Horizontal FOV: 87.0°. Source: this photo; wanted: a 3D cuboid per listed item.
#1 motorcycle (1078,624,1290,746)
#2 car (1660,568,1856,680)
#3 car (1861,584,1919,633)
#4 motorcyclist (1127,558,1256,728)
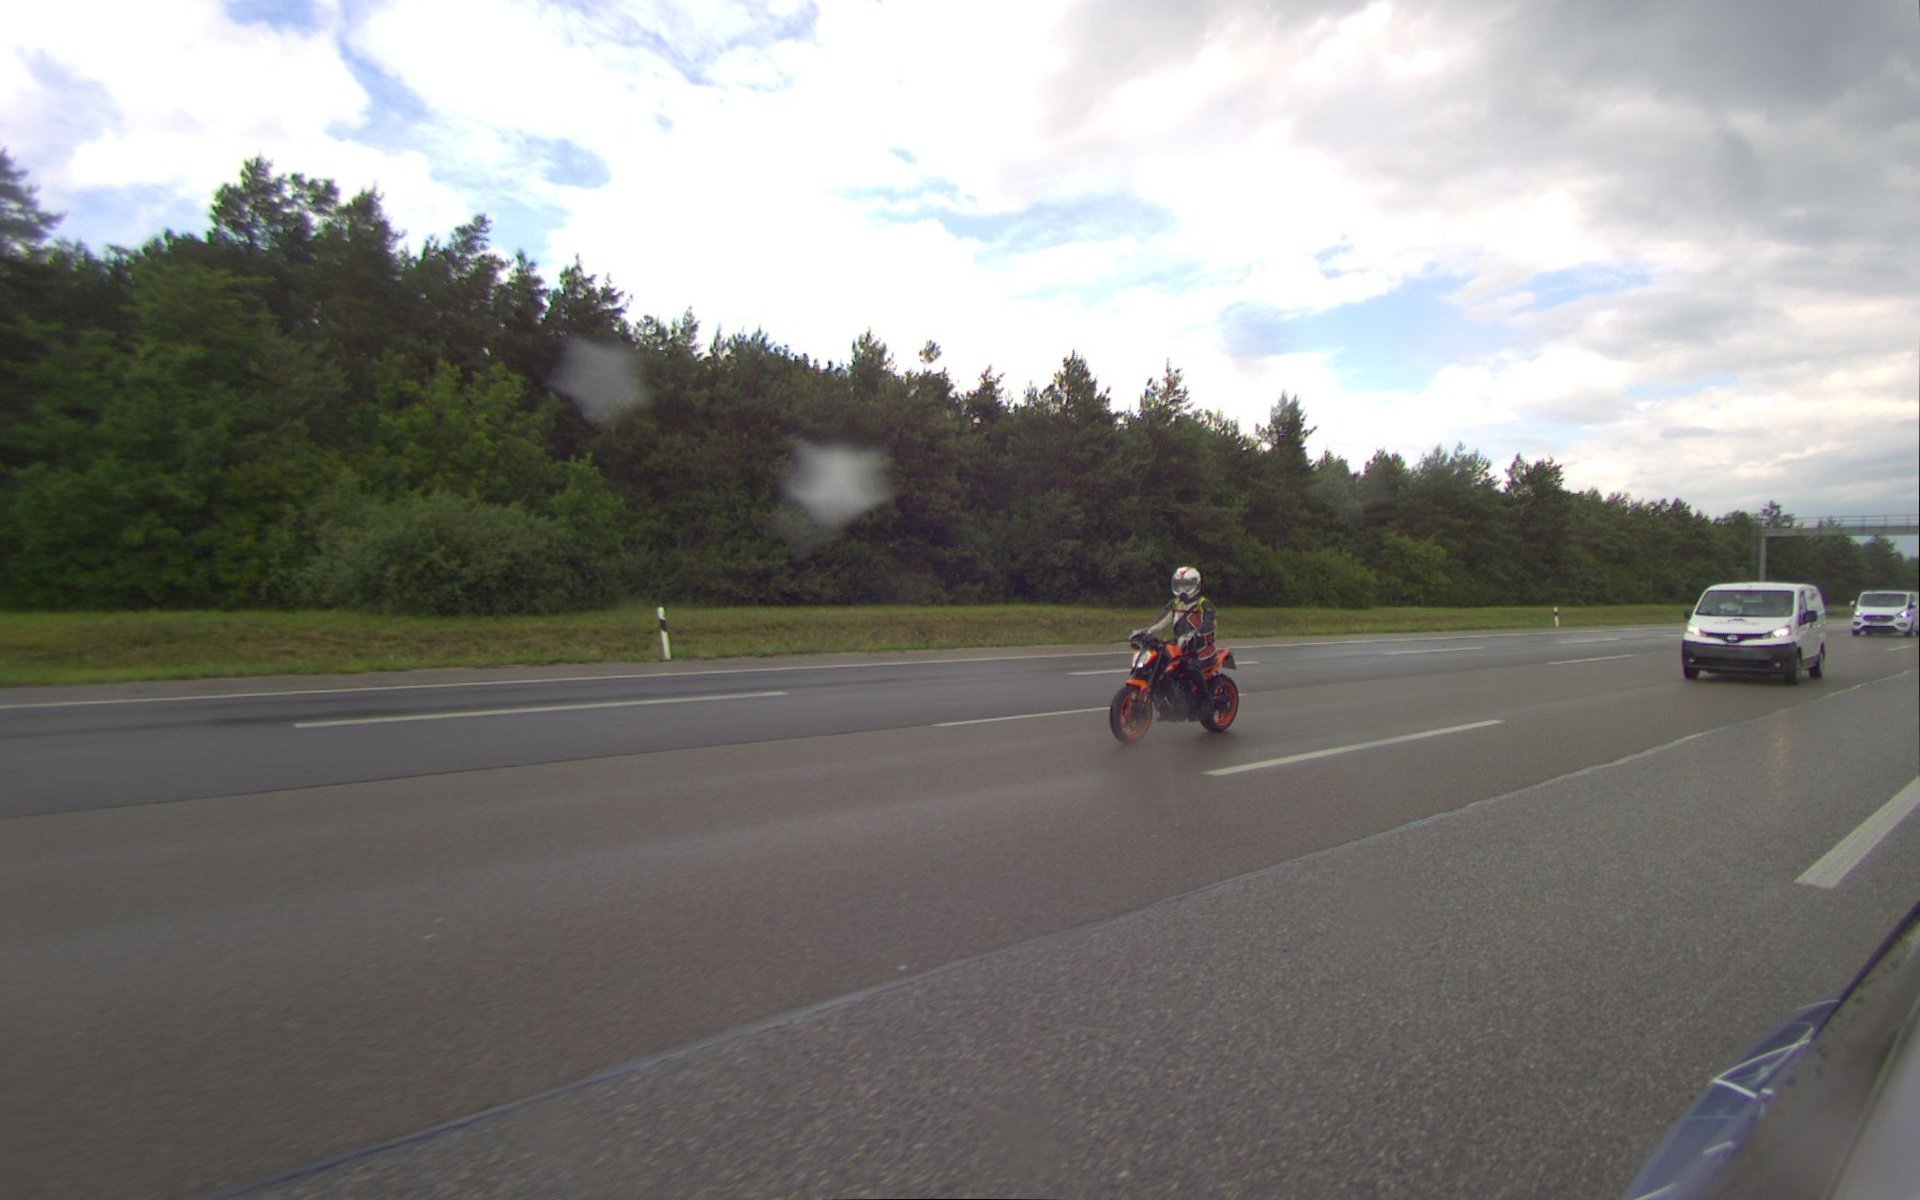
[{"bbox_3d":[2.317,0.800,10.328,2.135,1.044,1.002,0,1,-39],"label":"motorcycle"},{"bbox_3d":[15.494,0.394,19.553,4.793,1.925,1.968,0,1,-39],"label":"car"},{"bbox_3d":[42.039,0.373,44.969,5.380,2.039,1.999,1,0,-37],"label":"car"},{"bbox_3d":[2.369,0.403,10.375,0.941,1.635,0.893,0,0,-39],"label":"motorcyclist"}]
